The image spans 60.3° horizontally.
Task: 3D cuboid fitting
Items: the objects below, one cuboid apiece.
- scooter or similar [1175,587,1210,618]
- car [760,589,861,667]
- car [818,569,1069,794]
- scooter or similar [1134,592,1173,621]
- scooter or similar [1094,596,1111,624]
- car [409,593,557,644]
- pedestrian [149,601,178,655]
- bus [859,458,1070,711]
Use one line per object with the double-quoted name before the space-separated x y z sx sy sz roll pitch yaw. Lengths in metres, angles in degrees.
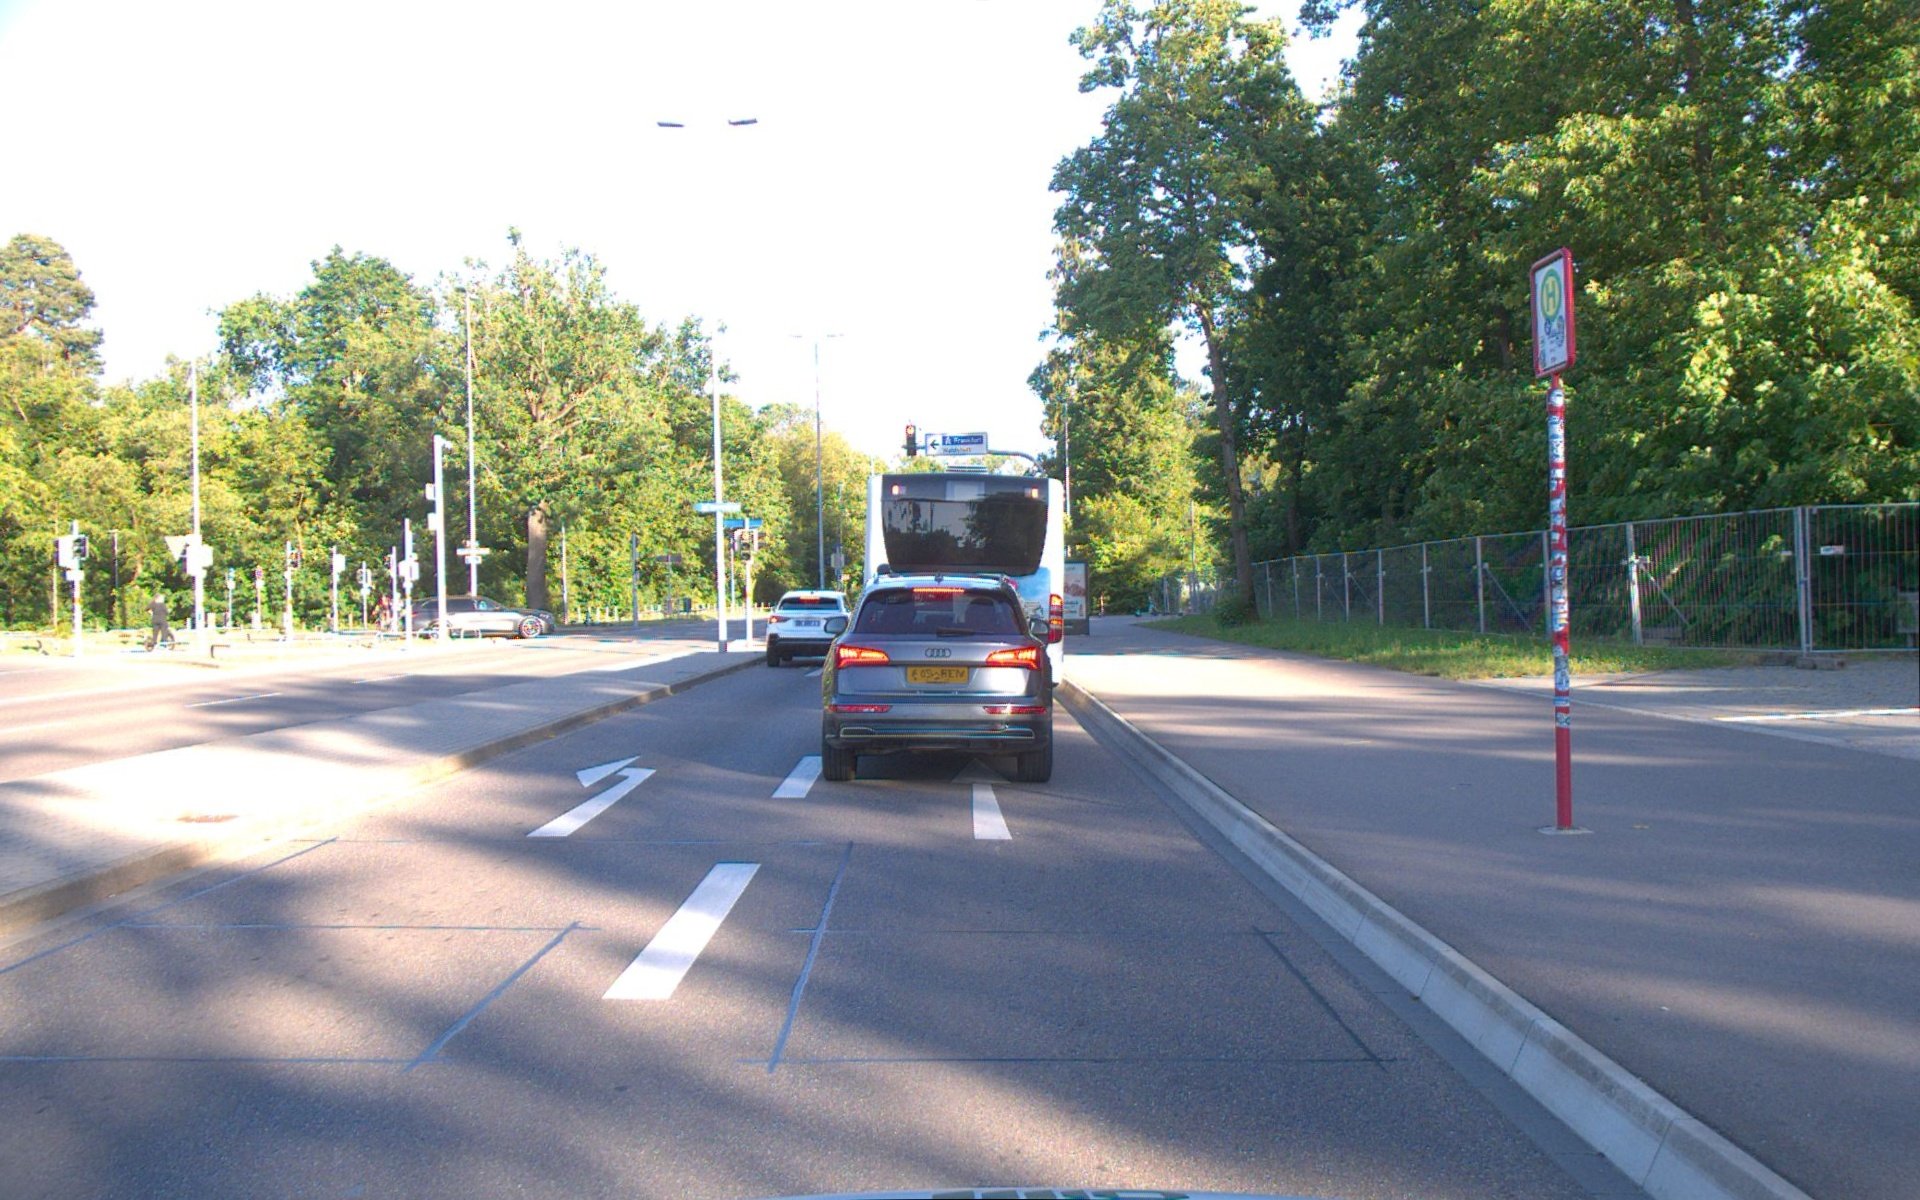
"scooter or similar" 12.271 0.155 87.273 0.535 1.594 1.993 -2 0 -39
"car" -3.130 0.546 35.232 1.799 1.545 3.999 -1 0 -1
"car" -0.140 0.595 14.308 1.860 1.660 3.999 0 0 -1
"scooter or similar" 10.044 0.332 85.962 1.990 1.469 0.601 -2 0 -26
"scooter or similar" 7.617 0.518 88.502 0.498 1.469 2.020 -2 0 -6
"car" -16.165 0.607 56.037 4.703 1.524 1.988 -2 0 -20
"pedestrian" -23.956 0.838 49.743 0.643 1.587 0.531 -1 0 -43
"bus" 0.015 -0.164 24.615 2.542 3.041 9.325 0 0 -1
